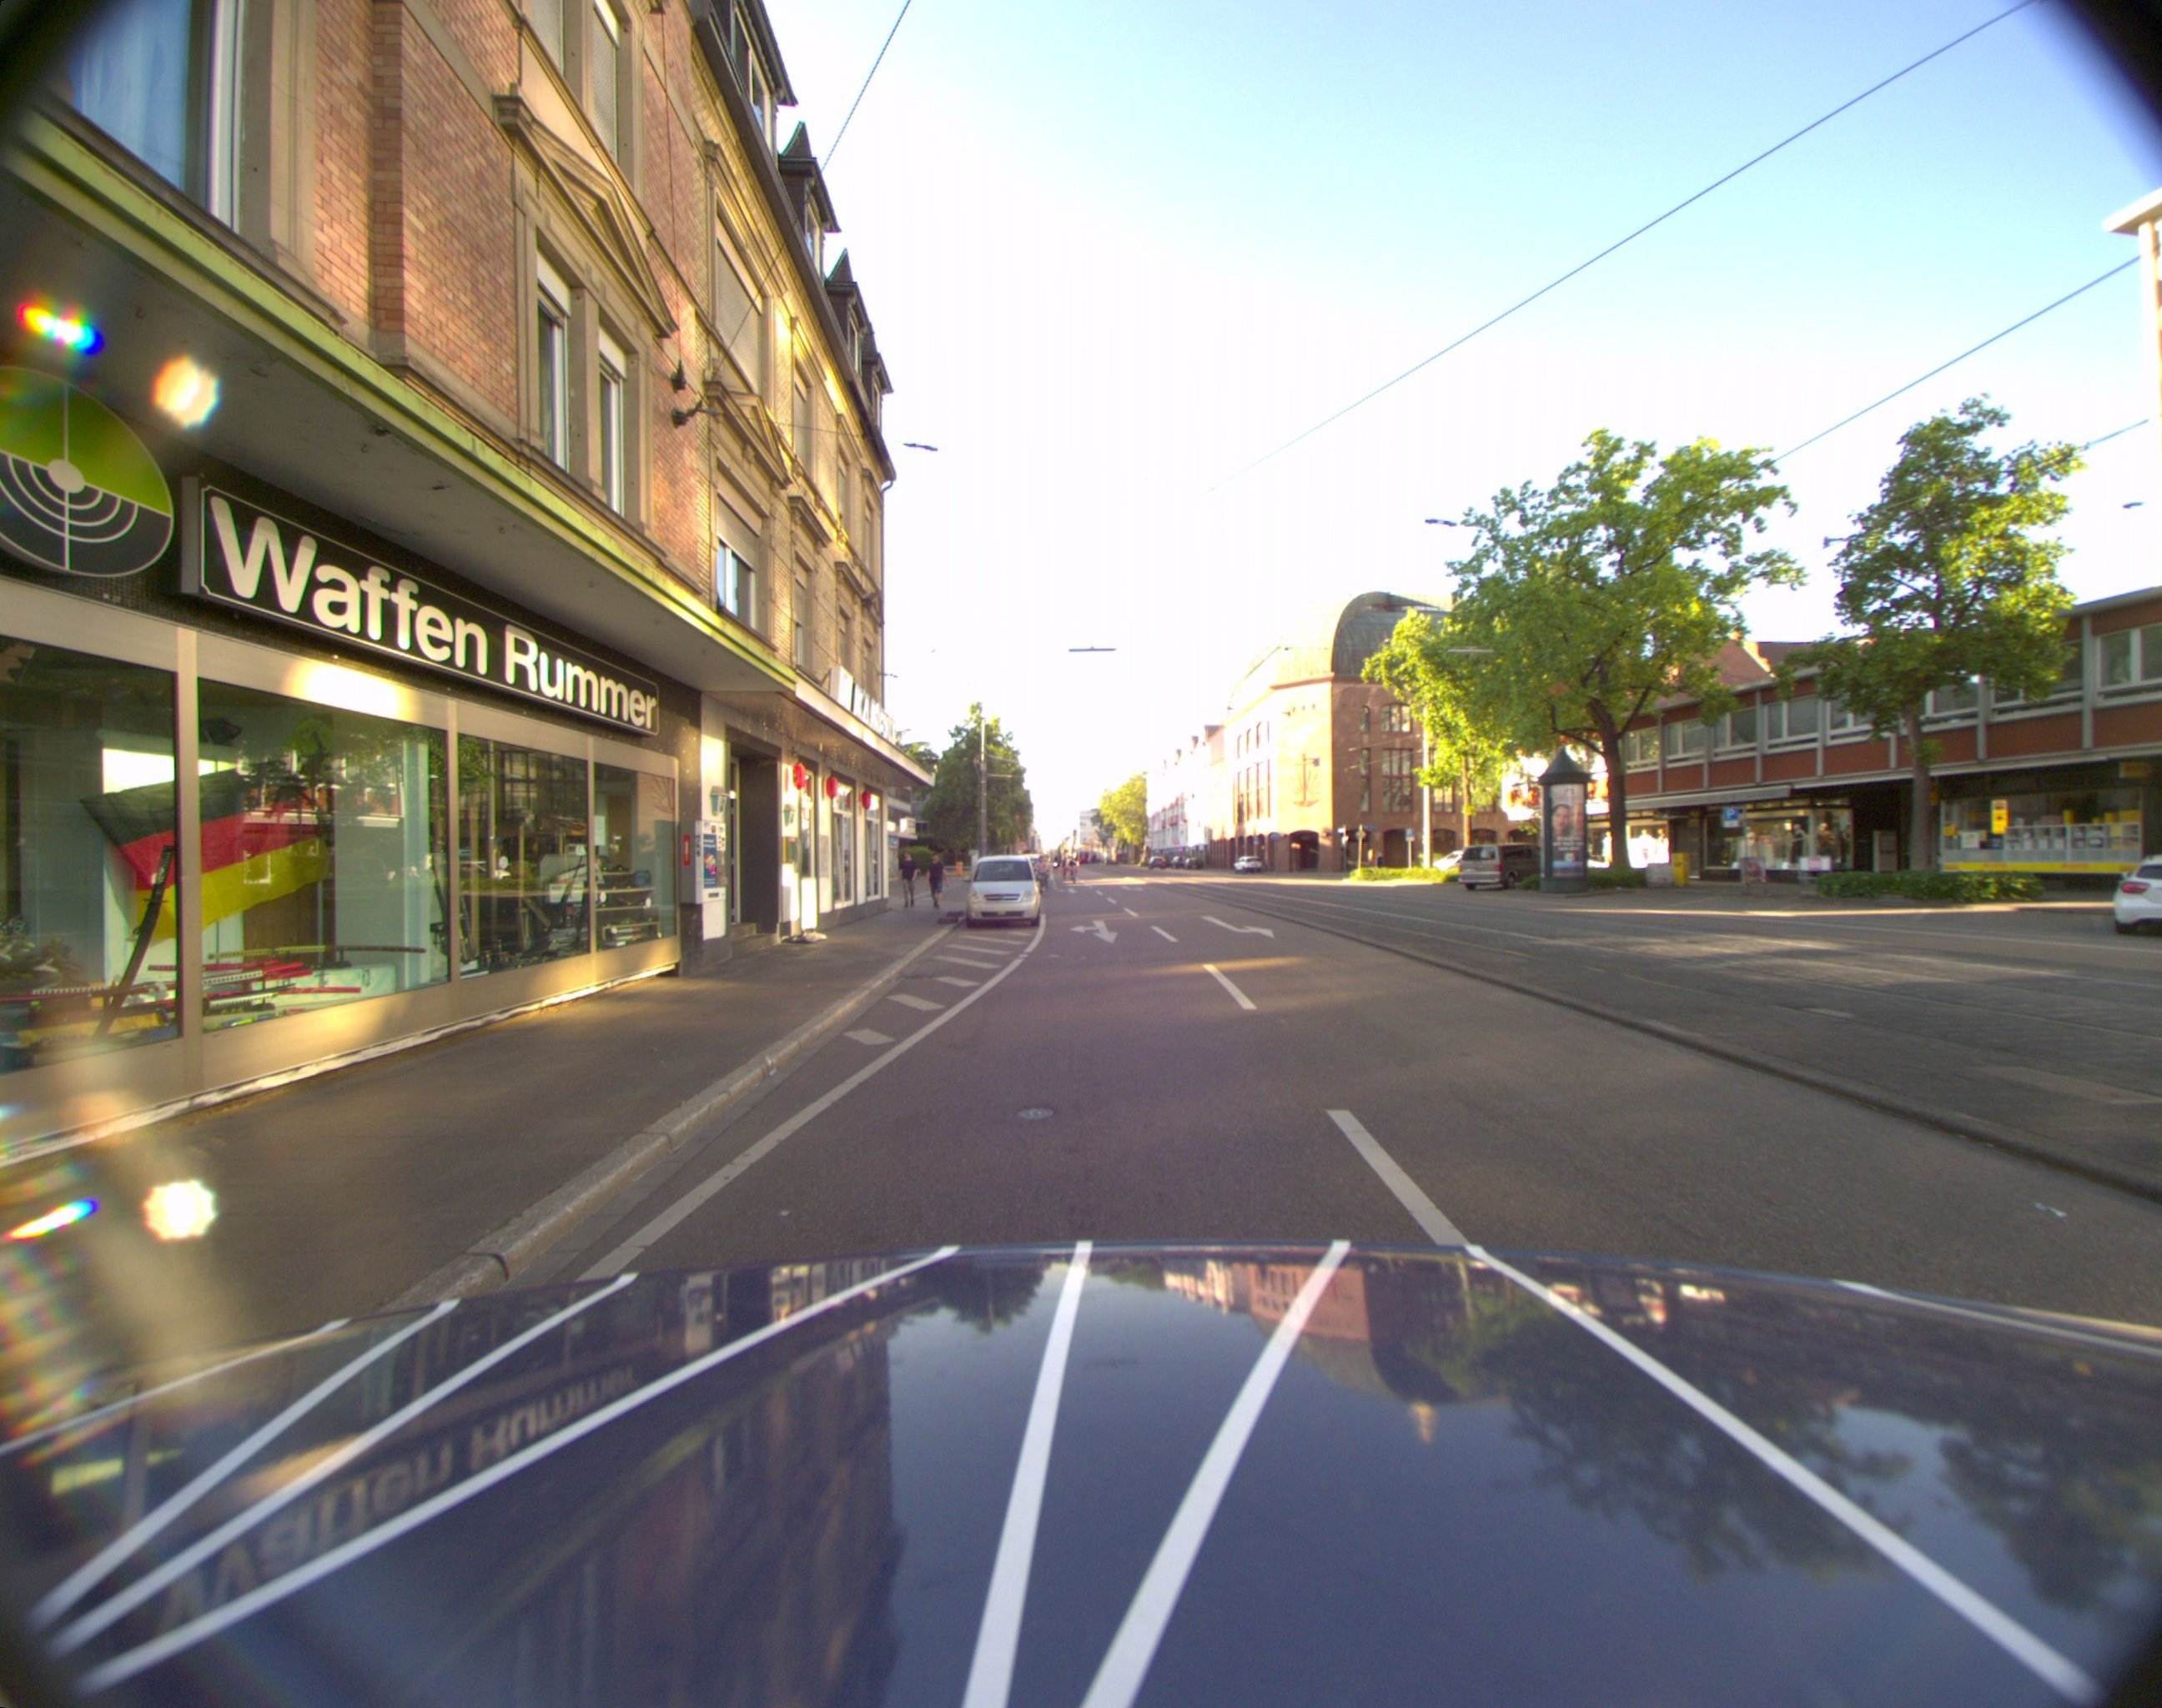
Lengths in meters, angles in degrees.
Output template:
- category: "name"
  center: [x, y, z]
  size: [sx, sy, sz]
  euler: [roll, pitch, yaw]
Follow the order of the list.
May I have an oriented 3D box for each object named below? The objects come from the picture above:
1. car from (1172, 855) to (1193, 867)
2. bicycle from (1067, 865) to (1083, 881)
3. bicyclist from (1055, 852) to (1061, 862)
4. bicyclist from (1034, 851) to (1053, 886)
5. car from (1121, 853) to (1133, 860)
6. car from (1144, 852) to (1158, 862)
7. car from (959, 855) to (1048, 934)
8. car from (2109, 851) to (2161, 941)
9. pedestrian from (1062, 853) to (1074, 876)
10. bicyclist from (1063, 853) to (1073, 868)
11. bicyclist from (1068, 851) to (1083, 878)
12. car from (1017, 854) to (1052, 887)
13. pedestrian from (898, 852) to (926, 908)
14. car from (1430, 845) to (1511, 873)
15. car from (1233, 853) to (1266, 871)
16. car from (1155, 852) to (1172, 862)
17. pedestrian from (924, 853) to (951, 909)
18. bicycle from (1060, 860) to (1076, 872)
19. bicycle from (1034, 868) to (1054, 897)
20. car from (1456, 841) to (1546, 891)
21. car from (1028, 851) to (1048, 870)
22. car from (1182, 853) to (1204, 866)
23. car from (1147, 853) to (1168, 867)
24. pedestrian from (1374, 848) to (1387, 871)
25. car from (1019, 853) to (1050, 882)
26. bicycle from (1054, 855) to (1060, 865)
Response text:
- category: "car"
  center: [13.876, 0.920, 104.022]
  size: [1.965, 1.594, 3.998]
  euler: [-2, 0, -4]
- category: "bicycle"
  center: [-0.351, 1.137, 45.837]
  size: [0.886, 0.949, 1.765]
  euler: [0, 0, 1]
- category: "bicyclist"
  center: [-2.755, 0.413, 90.196]
  size: [0.646, 1.176, 0.722]
  euler: [0, 0, -5]
- category: "bicyclist"
  center: [-1.550, 0.596, 31.632]
  size: [0.682, 1.434, 0.944]
  euler: [-2, 1, 1]
- category: "car"
  center: [9.857, 0.528, 162.560]
  size: [1.965, 1.594, 3.998]
  euler: [-2, 0, -4]
- category: "car"
  center: [12.810, 0.541, 138.876]
  size: [1.965, 1.594, 3.998]
  euler: [-2, 0, -4]
- category: "car"
  center: [-1.754, 0.868, 18.372]
  size: [1.671, 1.674, 4.000]
  euler: [-1, 0, 1]
- category: "car"
  center: [20.543, 0.715, 13.942]
  size: [4.007, 1.466, 1.793]
  euler: [-2, 1, -34]
- category: "pedestrian"
  center: [-0.943, 0.732, 55.581]
  size: [0.849, 1.652, 0.850]
  euler: [-1, 1, 1]
- category: "bicyclist"
  center: [-1.221, 0.603, 72.429]
  size: [0.674, 1.414, 0.762]
  euler: [-1, 1, -27]
- category: "bicyclist"
  center: [-0.351, 0.630, 45.977]
  size: [0.886, 1.650, 0.803]
  euler: [0, 1, 1]
- category: "car"
  center: [-2.462, 0.852, 40.831]
  size: [1.671, 1.674, 4.000]
  euler: [-1, 0, -1]
- category: "pedestrian"
  center: [-5.263, 0.802, 23.705]
  size: [0.701, 1.713, 0.681]
  euler: [1, 1, -1]
- category: "car"
  center: [28.636, 0.347, 55.977]
  size: [4.985, 2.002, 1.999]
  euler: [0, 0, -4]
- category: "car"
  center: [15.627, 0.723, 70.561]
  size: [1.911, 1.594, 3.998]
  euler: [-2, 0, -4]
- category: "car"
  center: [13.223, 0.480, 122.503]
  size: [1.965, 1.594, 3.998]
  euler: [-2, 0, -4]
- category: "pedestrian"
  center: [-4.418, 0.824, 23.374]
  size: [0.701, 1.713, 0.502]
  euler: [1, 1, -1]
- category: "bicycle"
  center: [-1.252, 1.159, 72.474]
  size: [0.674, 1.085, 2.034]
  euler: [-1, 0, -27]
- category: "bicycle"
  center: [-1.528, 1.165, 31.686]
  size: [0.682, 1.081, 1.752]
  euler: [-2, 1, 1]
- category: "car"
  center: [18.098, 0.461, 32.684]
  size: [4.007, 1.952, 1.906]
  euler: [-2, 1, -37]
- category: "car"
  center: [-3.914, 0.558, 70.055]
  size: [1.671, 1.674, 4.000]
  euler: [-1, 0, -1]
- category: "car"
  center: [14.362, 0.713, 97.601]
  size: [1.965, 1.594, 3.998]
  euler: [-2, 0, -4]
- category: "car"
  center: [9.577, 0.749, 95.815]
  size: [1.965, 1.594, 3.998]
  euler: [-2, 0, -4]
- category: "pedestrian"
  center: [22.783, 0.403, 57.875]
  size: [0.790, 1.737, 0.548]
  euler: [0, 1, 1]
- category: "car"
  center: [-2.775, 0.805, 46.251]
  size: [1.671, 1.674, 4.000]
  euler: [-1, 0, -1]
- category: "bicycle"
  center: [-2.839, 0.733, 90.492]
  size: [0.646, 1.176, 1.804]
  euler: [0, 0, -5]
